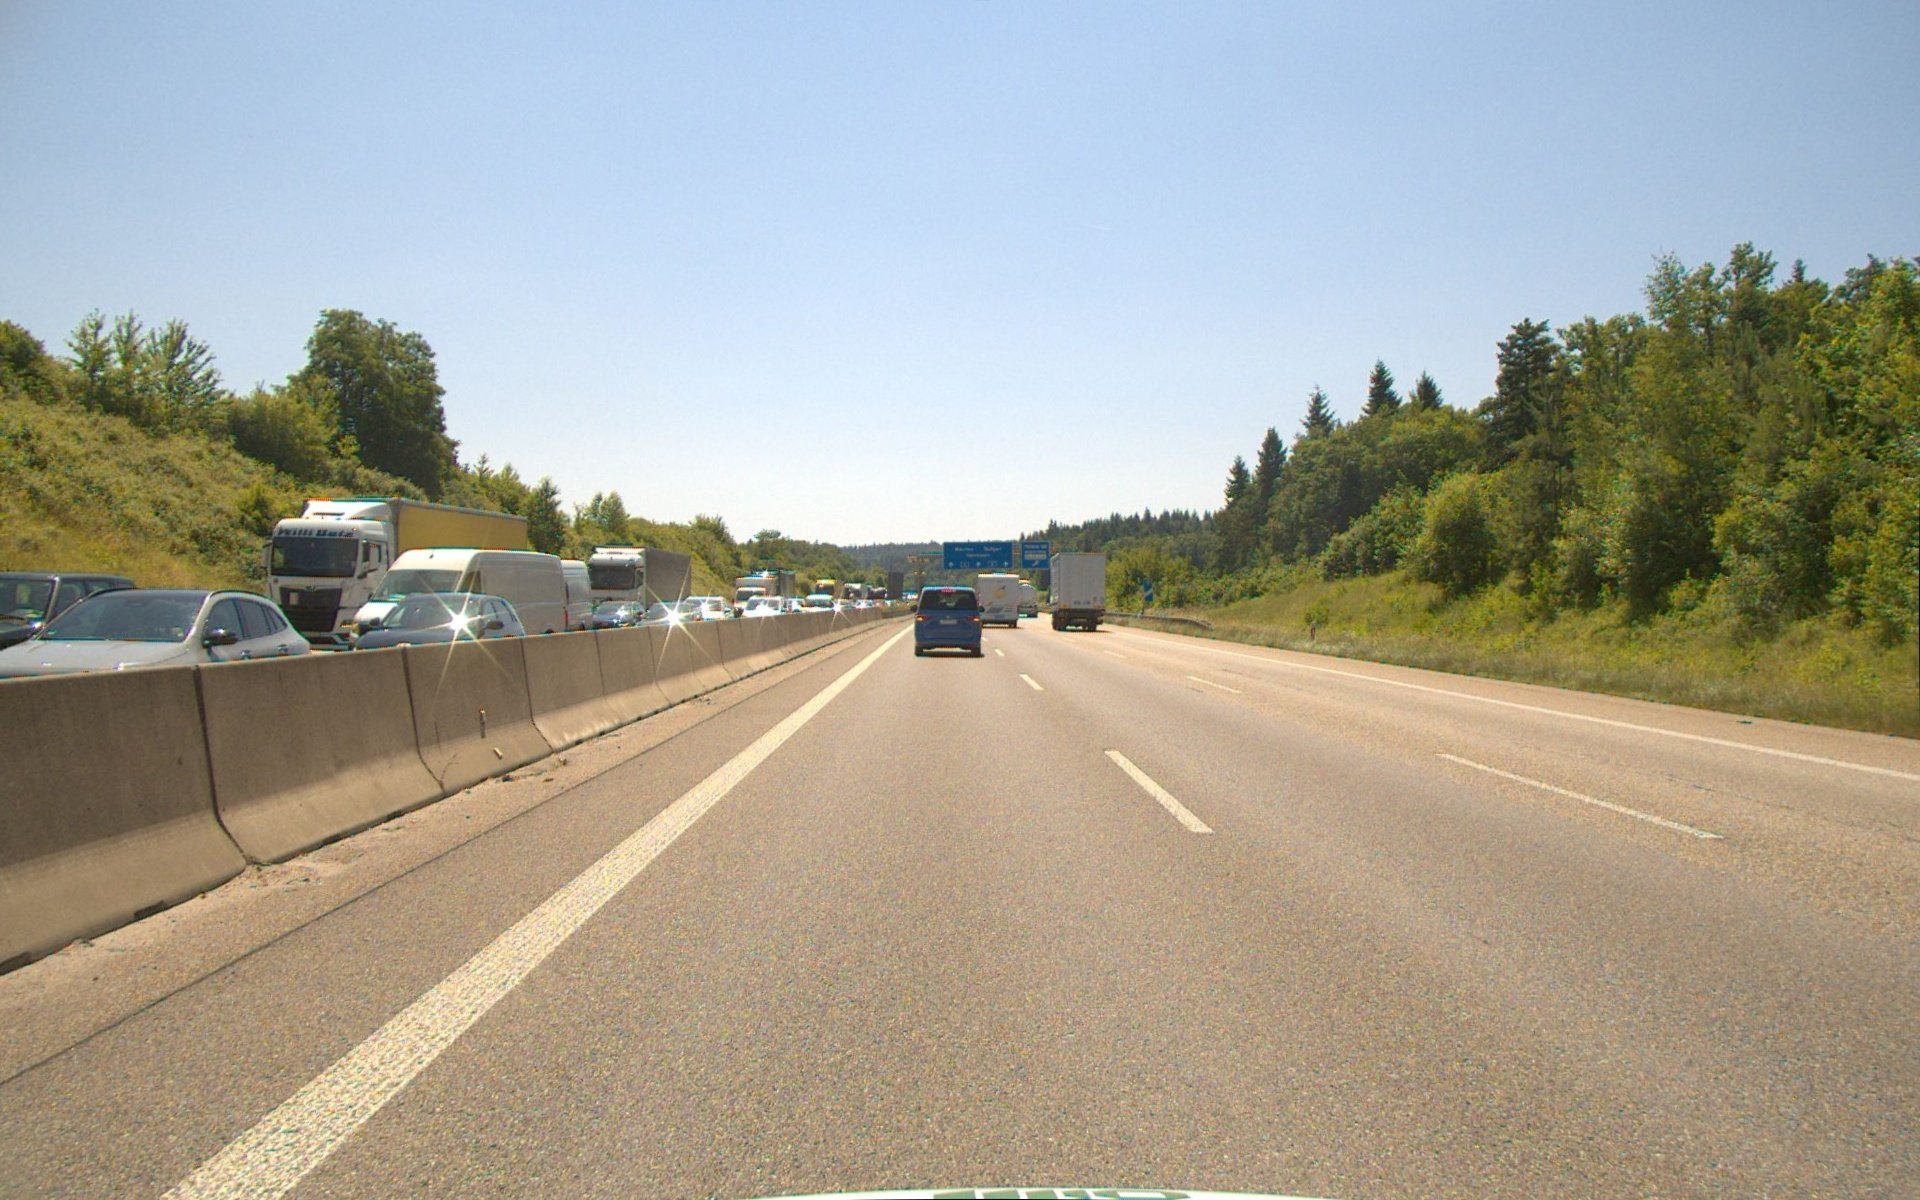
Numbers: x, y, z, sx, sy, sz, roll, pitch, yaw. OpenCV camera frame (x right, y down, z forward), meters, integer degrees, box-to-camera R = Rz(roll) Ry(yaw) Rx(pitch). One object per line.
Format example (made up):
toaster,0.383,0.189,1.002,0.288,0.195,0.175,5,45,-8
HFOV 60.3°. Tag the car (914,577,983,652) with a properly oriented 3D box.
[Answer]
car,-0.342,0.397,47.021,1.870,2.049,3.999,0,0,-1

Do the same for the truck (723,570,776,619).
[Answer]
truck,-13.046,-0.316,102.920,2.517,2.895,6.750,1,-1,-2

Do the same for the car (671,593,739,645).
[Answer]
car,-9.280,0.692,60.581,1.791,1.795,4.989,1,-1,-2

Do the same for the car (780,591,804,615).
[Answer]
car,-13.089,0.258,129.162,1.539,1.762,3.884,1,-1,-1

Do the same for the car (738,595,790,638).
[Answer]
car,-8.624,0.719,73.170,1.791,1.795,4.989,1,-1,-2

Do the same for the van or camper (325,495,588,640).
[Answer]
van or camper,-10.672,-0.592,35.918,2.203,2.824,7.223,1,-1,12

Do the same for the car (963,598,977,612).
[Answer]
car,1.240,0.641,209.260,1.740,1.803,3.999,0,0,-1

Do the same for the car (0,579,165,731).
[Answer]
car,-12.213,0.639,21.408,1.959,1.758,4.752,1,-1,-6

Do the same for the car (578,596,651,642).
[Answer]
car,-12.631,0.686,60.689,1.791,1.592,4.522,1,-1,-2

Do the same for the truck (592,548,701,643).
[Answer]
truck,-16.549,-0.159,88.562,2.933,4.622,13.924,1,-1,1

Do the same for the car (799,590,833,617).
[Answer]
car,-8.936,0.215,103.118,1.791,1.592,5.109,1,-1,-2

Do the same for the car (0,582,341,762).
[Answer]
car,-7.922,0.641,16.585,1.791,1.523,4.756,1,-1,-3

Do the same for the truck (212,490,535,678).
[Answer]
truck,-16.496,-0.296,48.812,3.621,4.534,16.672,1,-1,-1

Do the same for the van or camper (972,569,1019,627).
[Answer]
van or camper,2.045,-0.068,97.265,2.550,3.133,7.180,1,-2,0

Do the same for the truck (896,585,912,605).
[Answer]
truck,-8.406,-0.738,247.824,2.076,2.891,6.212,1,-1,0

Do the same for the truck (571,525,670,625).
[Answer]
truck,-16.614,-1.111,81.586,2.882,4.595,8.605,1,-1,1

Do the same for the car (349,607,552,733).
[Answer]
car,-8.057,1.048,26.658,1.791,1.795,4.989,1,-1,-2

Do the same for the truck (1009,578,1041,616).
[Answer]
truck,6.434,-0.372,164.561,2.867,3.637,8.527,-1,1,1

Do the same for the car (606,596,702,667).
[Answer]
car,-8.302,0.832,45.254,1.791,1.795,4.989,1,-1,-2

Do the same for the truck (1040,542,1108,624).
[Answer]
truck,6.148,-0.827,90.607,2.727,4.201,9.736,1,-1,-2

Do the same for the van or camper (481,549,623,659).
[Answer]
van or camper,-12.015,0.144,49.369,2.151,2.991,7.535,1,-1,1
